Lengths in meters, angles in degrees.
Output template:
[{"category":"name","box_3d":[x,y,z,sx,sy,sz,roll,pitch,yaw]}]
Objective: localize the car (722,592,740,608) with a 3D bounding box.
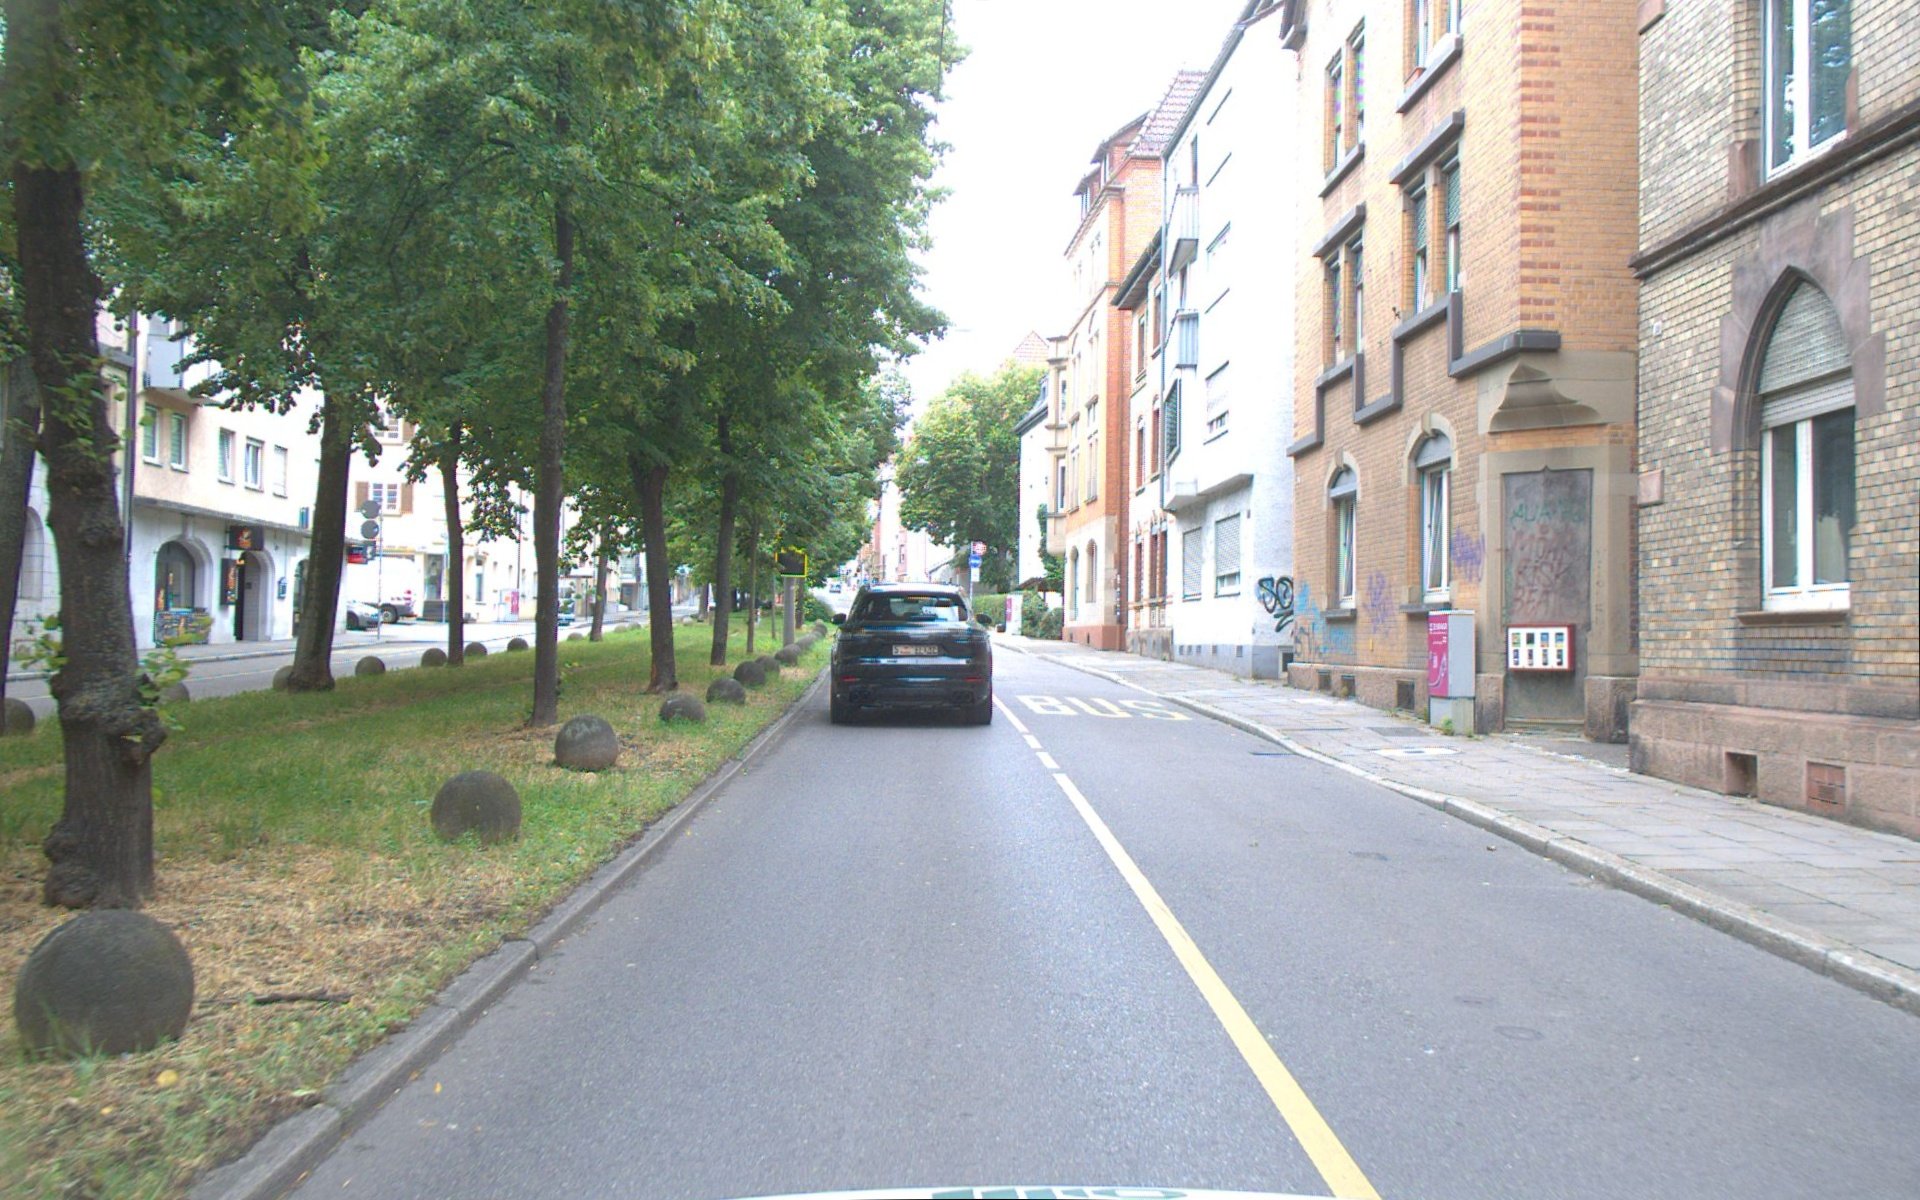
[{"category":"car","box_3d":[-26.954,0.051,194.763,1.913,1.656,4.358,-7,0,-7]}]

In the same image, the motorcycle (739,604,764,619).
[{"category":"motorcycle","box_3d":[-19.768,1.105,156.973,2.337,1.340,1.044,1,0,-7]}]

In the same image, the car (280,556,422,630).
[{"category":"car","box_3d":[-24.662,-0.270,67.179,5.084,2.784,2.169,2,-1,-14]}]

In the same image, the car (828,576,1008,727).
[{"category":"car","box_3d":[-0.634,0.606,20.902,1.867,1.695,4.129,1,-1,-7]}]

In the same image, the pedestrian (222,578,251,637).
[{"category":"pedestrian","box_3d":[-20.978,0.229,47.982,0.521,1.695,0.700,1,-1,-3]}]

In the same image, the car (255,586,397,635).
[{"category":"car","box_3d":[-22.423,0.344,58.610,4.203,1.444,2.046,4,0,-3]}]

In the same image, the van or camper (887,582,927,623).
[{"category":"van or camper","box_3d":[-3.924,0.198,121.193,2.432,2.852,7.230,1,-1,-5]}]
